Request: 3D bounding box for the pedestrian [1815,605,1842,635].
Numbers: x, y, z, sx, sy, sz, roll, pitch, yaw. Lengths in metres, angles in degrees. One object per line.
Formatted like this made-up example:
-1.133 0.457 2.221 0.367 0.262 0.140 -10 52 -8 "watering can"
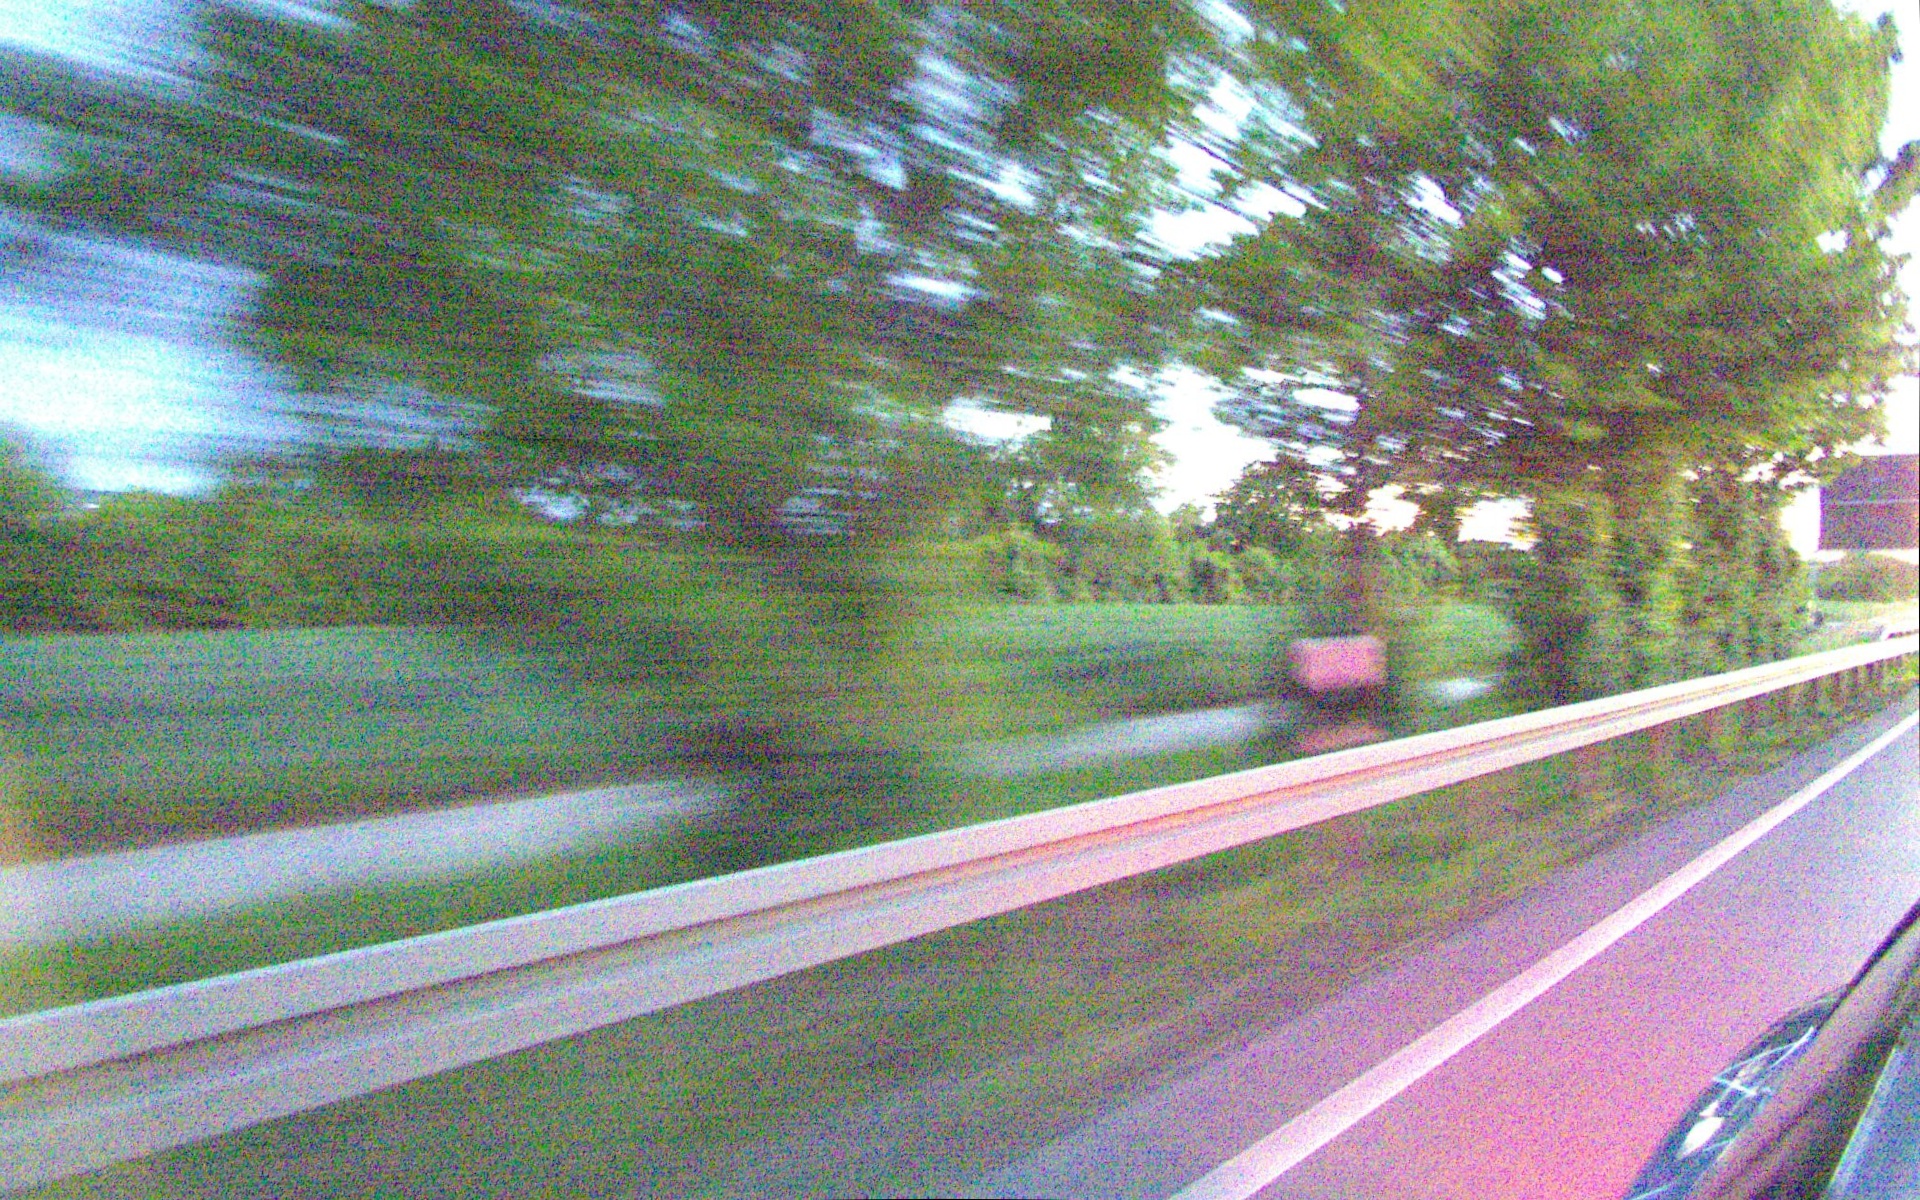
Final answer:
50.430 1.144 58.760 1.099 1.664 1.063 0 0 -43 "pedestrian"
